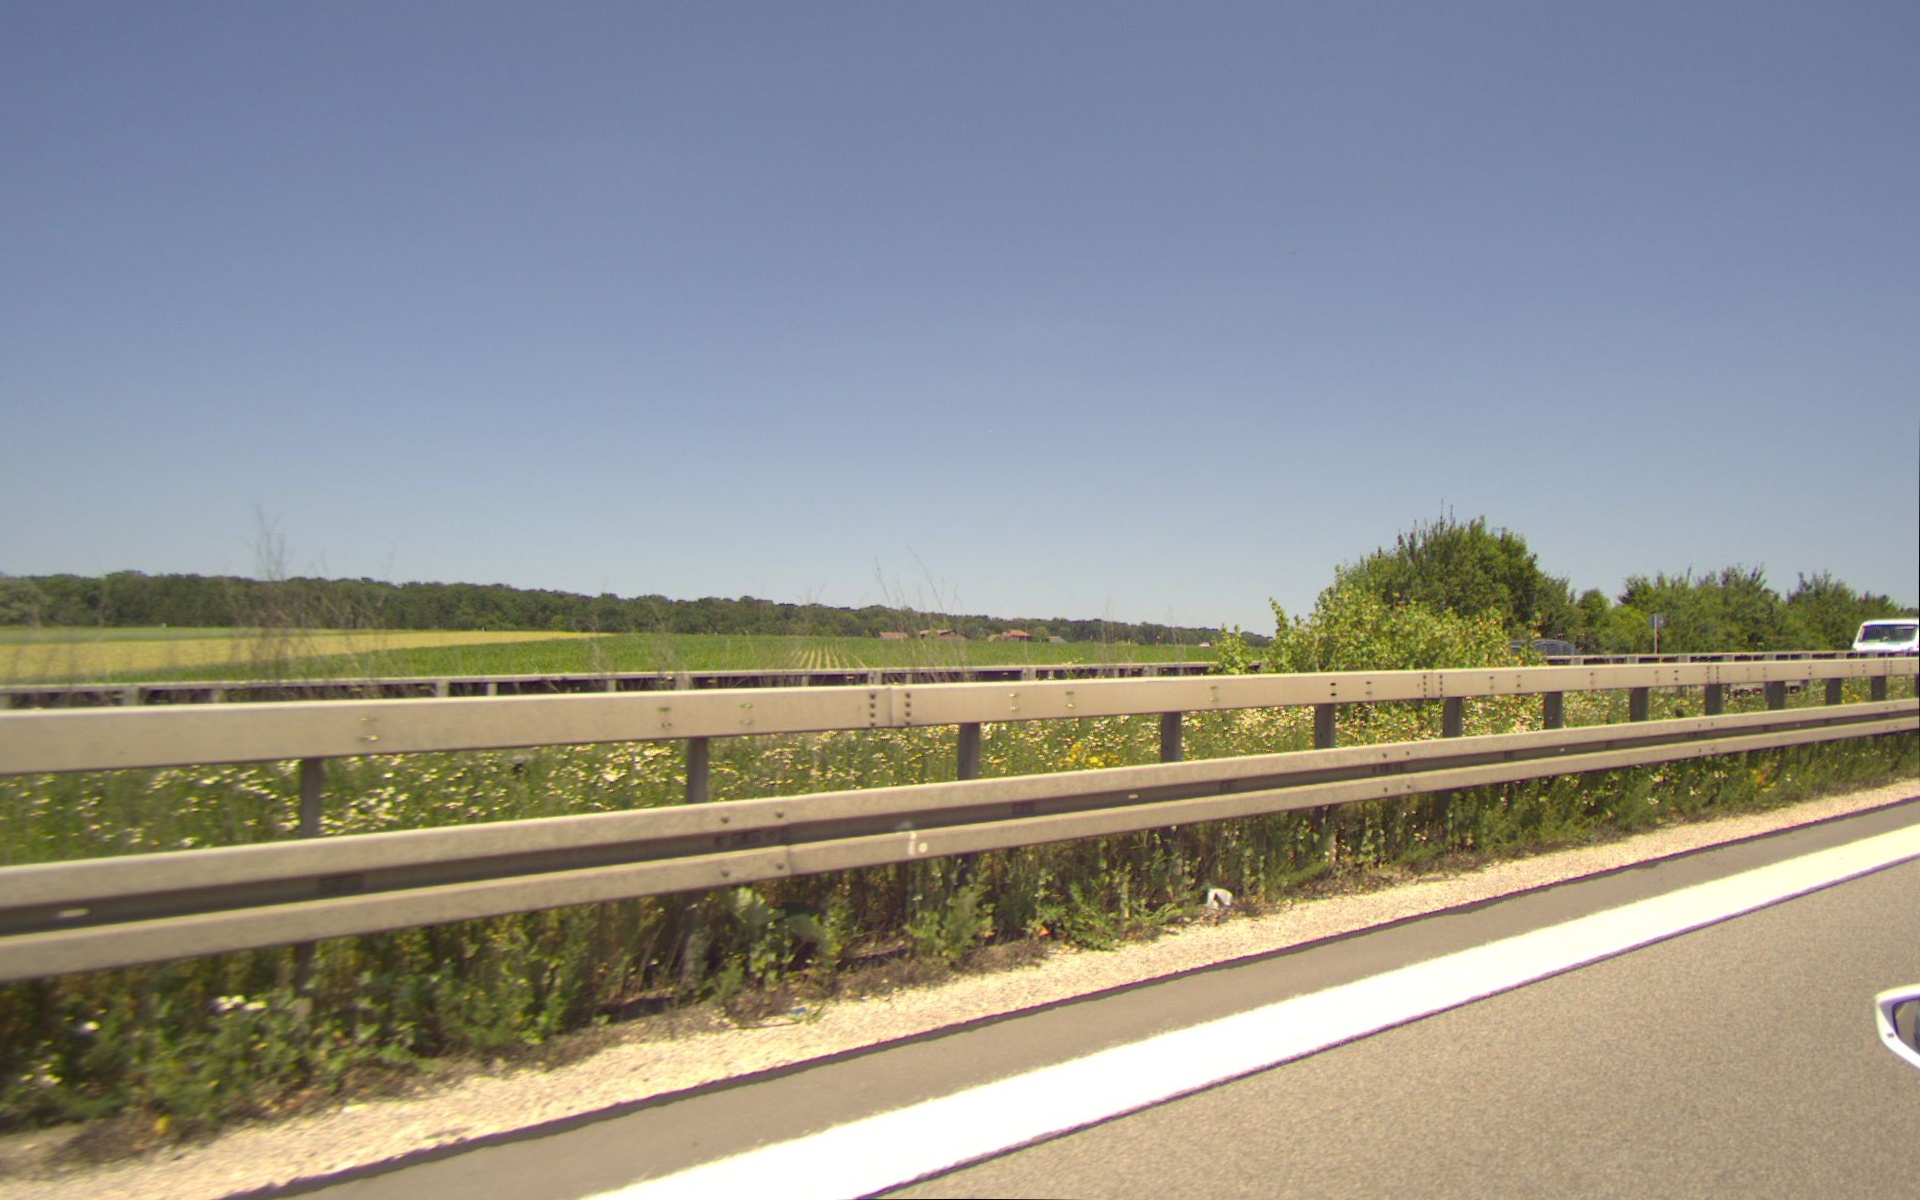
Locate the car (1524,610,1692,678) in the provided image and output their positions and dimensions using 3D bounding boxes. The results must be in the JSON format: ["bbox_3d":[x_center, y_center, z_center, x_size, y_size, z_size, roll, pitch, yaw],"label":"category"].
[{"bbox_3d":[16.519,1.109,25.578,4.237,1.563,1.937,2,-1,-31],"label":"car"}]

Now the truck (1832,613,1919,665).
[{"bbox_3d":[36.623,1.524,39.061,5.659,1.861,2.417,2,-1,-30],"label":"truck"}]
